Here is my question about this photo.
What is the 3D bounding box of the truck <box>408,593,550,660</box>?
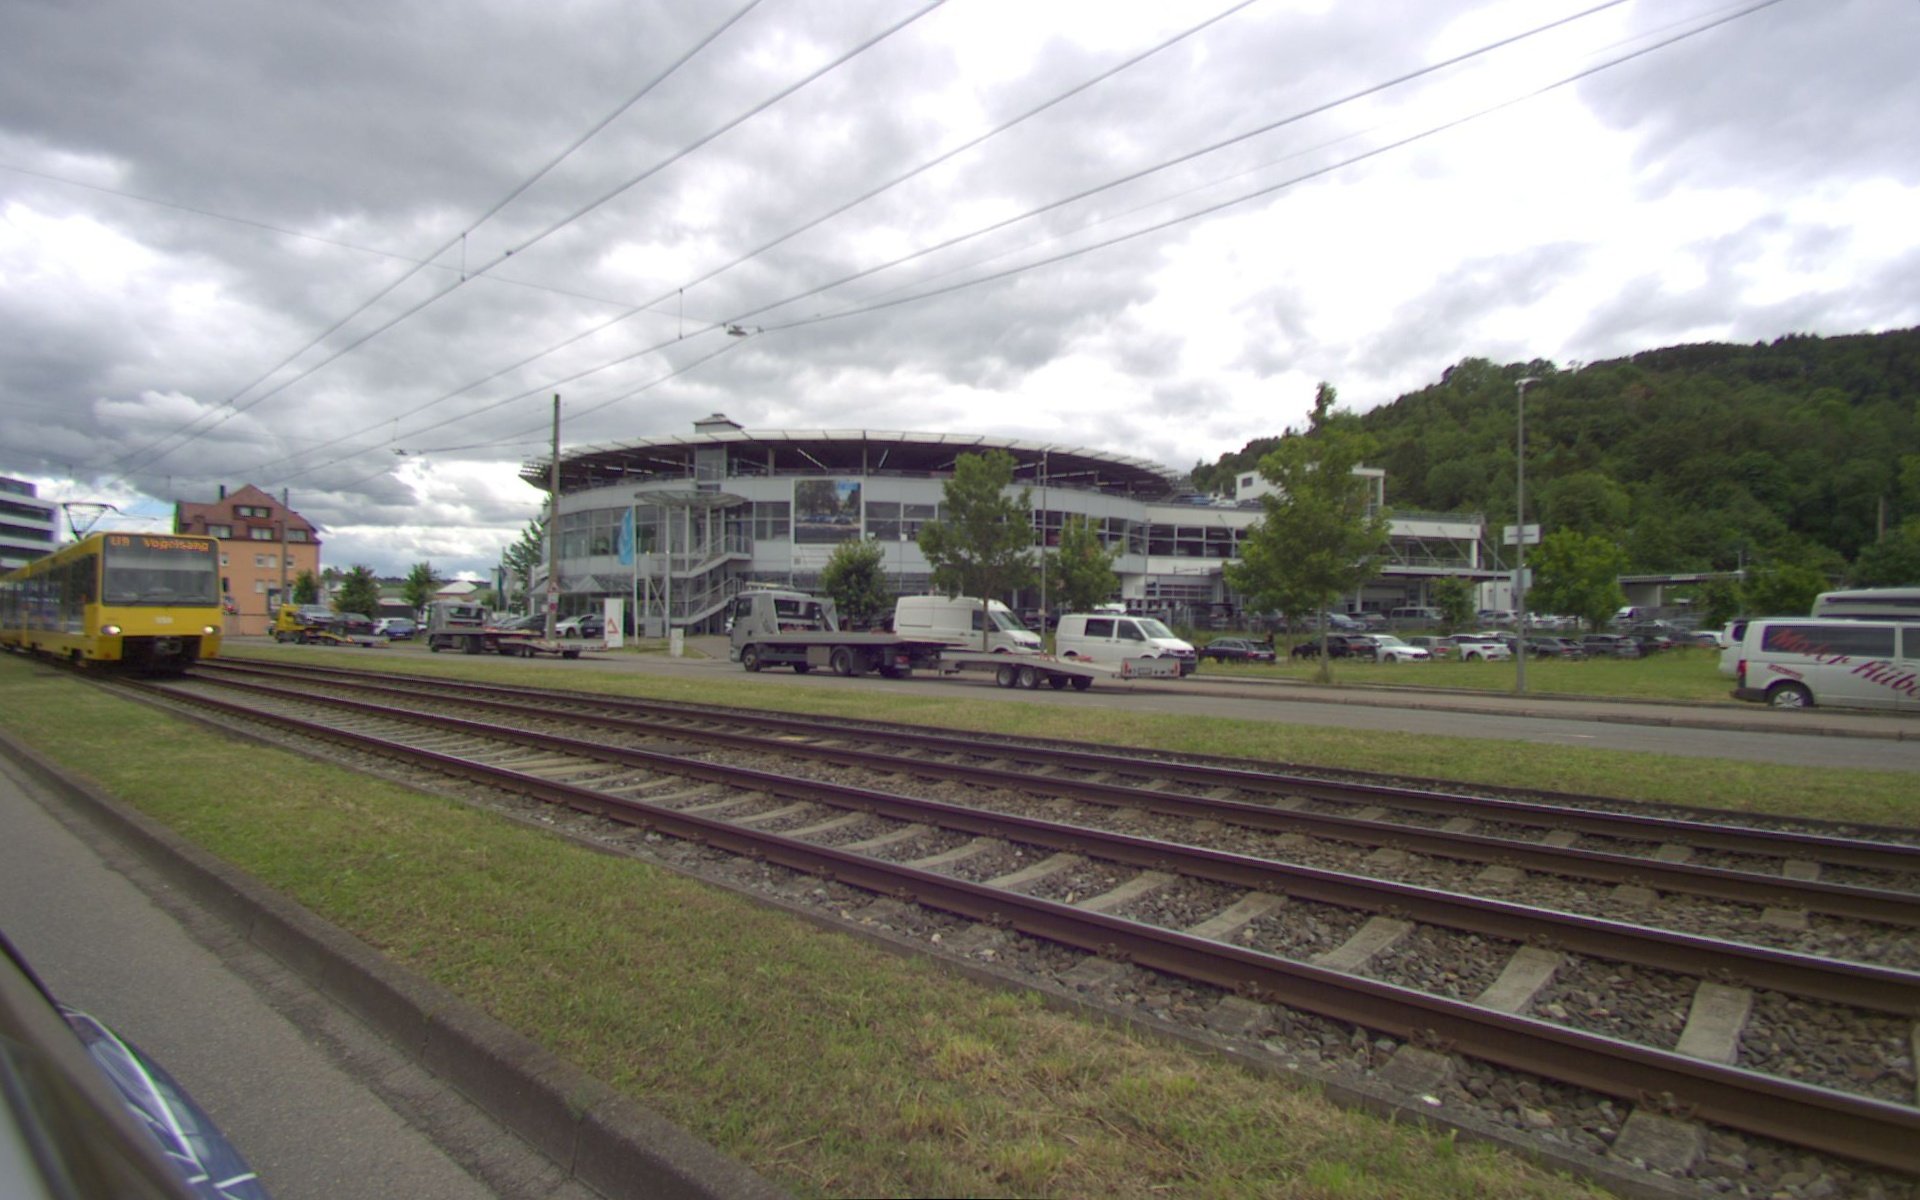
[{"bbox_3d":[-23.476,1.307,49.128,8.962,2.944,3.073,-1,-4,43],"label":"truck"}]

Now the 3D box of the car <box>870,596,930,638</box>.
[{"bbox_3d":[-3.068,0.881,50.680,1.965,2.029,4.012,1,-2,-19],"label":"car"}]

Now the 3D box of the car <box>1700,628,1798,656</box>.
[{"bbox_3d":[41.718,2.192,53.564,1.649,1.447,3.725,1,-2,-34],"label":"car"}]

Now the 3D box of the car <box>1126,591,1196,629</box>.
[{"bbox_3d":[10.946,0.578,55.353,1.965,2.029,4.012,1,-1,-19],"label":"car"}]

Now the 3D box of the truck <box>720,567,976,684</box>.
[{"bbox_3d":[-3.549,0.804,29.910,2.830,3.004,8.459,4,-4,-44],"label":"truck"}]

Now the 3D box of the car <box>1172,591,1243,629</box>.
[{"bbox_3d":[13.703,0.576,56.328,1.965,2.029,4.012,1,-1,-19],"label":"car"}]

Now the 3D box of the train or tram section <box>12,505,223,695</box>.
[{"bbox_3d":[-24.479,0.052,28.793,3.349,4.037,16.957,-1,0,-44],"label":"train or tram section"}]

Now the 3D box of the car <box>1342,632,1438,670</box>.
[{"bbox_3d":[19.545,2.267,46.134,1.649,1.630,3.724,1,-2,-36],"label":"car"}]

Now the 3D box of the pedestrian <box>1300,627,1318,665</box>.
[{"bbox_3d":[14.407,1.905,41.775,0.492,1.536,0.613,0,-1,-8],"label":"pedestrian"}]

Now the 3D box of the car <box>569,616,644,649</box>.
[{"bbox_3d":[-21.535,1.982,61.794,1.992,1.962,3.959,-1,-2,30],"label":"car"}]

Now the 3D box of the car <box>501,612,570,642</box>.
[{"bbox_3d":[-28.587,1.790,68.151,3.933,1.962,2.005,1,-2,-35],"label":"car"}]

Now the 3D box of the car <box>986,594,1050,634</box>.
[{"bbox_3d":[2.961,0.748,52.896,1.965,2.029,4.012,1,-2,-19],"label":"car"}]

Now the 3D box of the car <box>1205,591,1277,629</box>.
[{"bbox_3d":[15.751,0.570,56.886,1.965,2.029,4.012,1,-1,-19],"label":"car"}]

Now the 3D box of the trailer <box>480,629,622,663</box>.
[{"bbox_3d":[-17.690,1.959,43.589,7.007,1.287,3.015,-1,-4,44],"label":"trailer"}]

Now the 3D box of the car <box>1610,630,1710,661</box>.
[{"bbox_3d":[34.770,2.243,50.354,1.649,1.447,3.724,1,-2,-36],"label":"car"}]

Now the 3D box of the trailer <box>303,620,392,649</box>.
[{"bbox_3d":[-38.142,2.107,62.954,7.571,1.701,2.944,-2,-2,44],"label":"trailer"}]

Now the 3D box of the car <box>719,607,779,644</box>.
[{"bbox_3d":[-12.103,1.476,58.330,1.979,2.029,3.986,0,-2,11],"label":"car"}]

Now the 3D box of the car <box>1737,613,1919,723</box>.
[{"bbox_3d":[18.153,1.274,19.458,1.970,2.029,4.864,2,-2,-44],"label":"car"}]

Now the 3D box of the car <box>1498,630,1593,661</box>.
[{"bbox_3d":[28.781,2.231,49.830,1.649,1.447,3.724,1,-2,-36],"label":"car"}]

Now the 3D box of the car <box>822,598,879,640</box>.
[{"bbox_3d":[-5.505,0.976,50.602,1.965,2.029,4.012,1,-2,-19],"label":"car"}]

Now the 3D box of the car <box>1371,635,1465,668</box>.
[{"bbox_3d":[21.497,2.392,47.597,1.649,1.447,3.724,1,-2,-36],"label":"car"}]

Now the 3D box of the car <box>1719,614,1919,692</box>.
[{"bbox_3d":[25.020,1.434,28.833,1.965,2.029,5.150,1,-1,-22],"label":"car"}]

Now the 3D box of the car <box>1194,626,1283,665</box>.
[{"bbox_3d":[11.992,1.933,43.778,1.648,1.630,3.728,0,-2,-25],"label":"car"}]

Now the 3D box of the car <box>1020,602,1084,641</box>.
[{"bbox_3d":[4.884,1.155,54.354,1.965,2.029,4.012,1,-1,-19],"label":"car"}]

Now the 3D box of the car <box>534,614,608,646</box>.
[{"bbox_3d":[-24.513,1.880,63.871,1.992,1.962,3.959,-1,-2,30],"label":"car"}]

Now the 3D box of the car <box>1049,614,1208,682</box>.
[{"bbox_3d":[5.335,1.483,32.571,4.809,2.029,1.971,-2,-2,45],"label":"car"}]

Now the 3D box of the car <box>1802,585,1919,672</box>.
[{"bbox_3d":[30.525,0.916,32.600,1.965,2.726,4.876,1,-1,-20],"label":"car"}]

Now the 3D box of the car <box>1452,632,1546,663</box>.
[{"bbox_3d":[26.395,2.284,49.674,1.649,1.447,3.724,1,-2,-36],"label":"car"}]

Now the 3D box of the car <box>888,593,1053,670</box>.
[{"bbox_3d":[0.323,1.124,36.548,5.846,2.580,1.977,-1,-2,33],"label":"car"}]

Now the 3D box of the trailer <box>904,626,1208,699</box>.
[{"bbox_3d":[2.072,1.448,24.394,2.726,1.507,7.229,5,-5,-45],"label":"trailer"}]

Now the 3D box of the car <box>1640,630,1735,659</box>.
[{"bbox_3d":[38.468,2.331,53.575,1.649,1.447,3.724,1,-2,-36],"label":"car"}]

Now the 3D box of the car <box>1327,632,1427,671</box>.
[{"bbox_3d":[18.175,2.204,44.200,1.649,1.630,3.724,1,-2,-36],"label":"car"}]

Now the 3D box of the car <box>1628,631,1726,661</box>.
[{"bbox_3d":[36.545,2.303,51.661,1.649,1.447,3.724,1,-2,-36],"label":"car"}]

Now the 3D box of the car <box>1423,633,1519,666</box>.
[{"bbox_3d":[24.197,2.313,48.048,1.649,1.447,3.724,1,-2,-36],"label":"car"}]

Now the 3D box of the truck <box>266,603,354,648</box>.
[{"bbox_3d":[-44.204,1.741,68.688,9.069,2.881,3.015,-2,-2,44],"label":"truck"}]
